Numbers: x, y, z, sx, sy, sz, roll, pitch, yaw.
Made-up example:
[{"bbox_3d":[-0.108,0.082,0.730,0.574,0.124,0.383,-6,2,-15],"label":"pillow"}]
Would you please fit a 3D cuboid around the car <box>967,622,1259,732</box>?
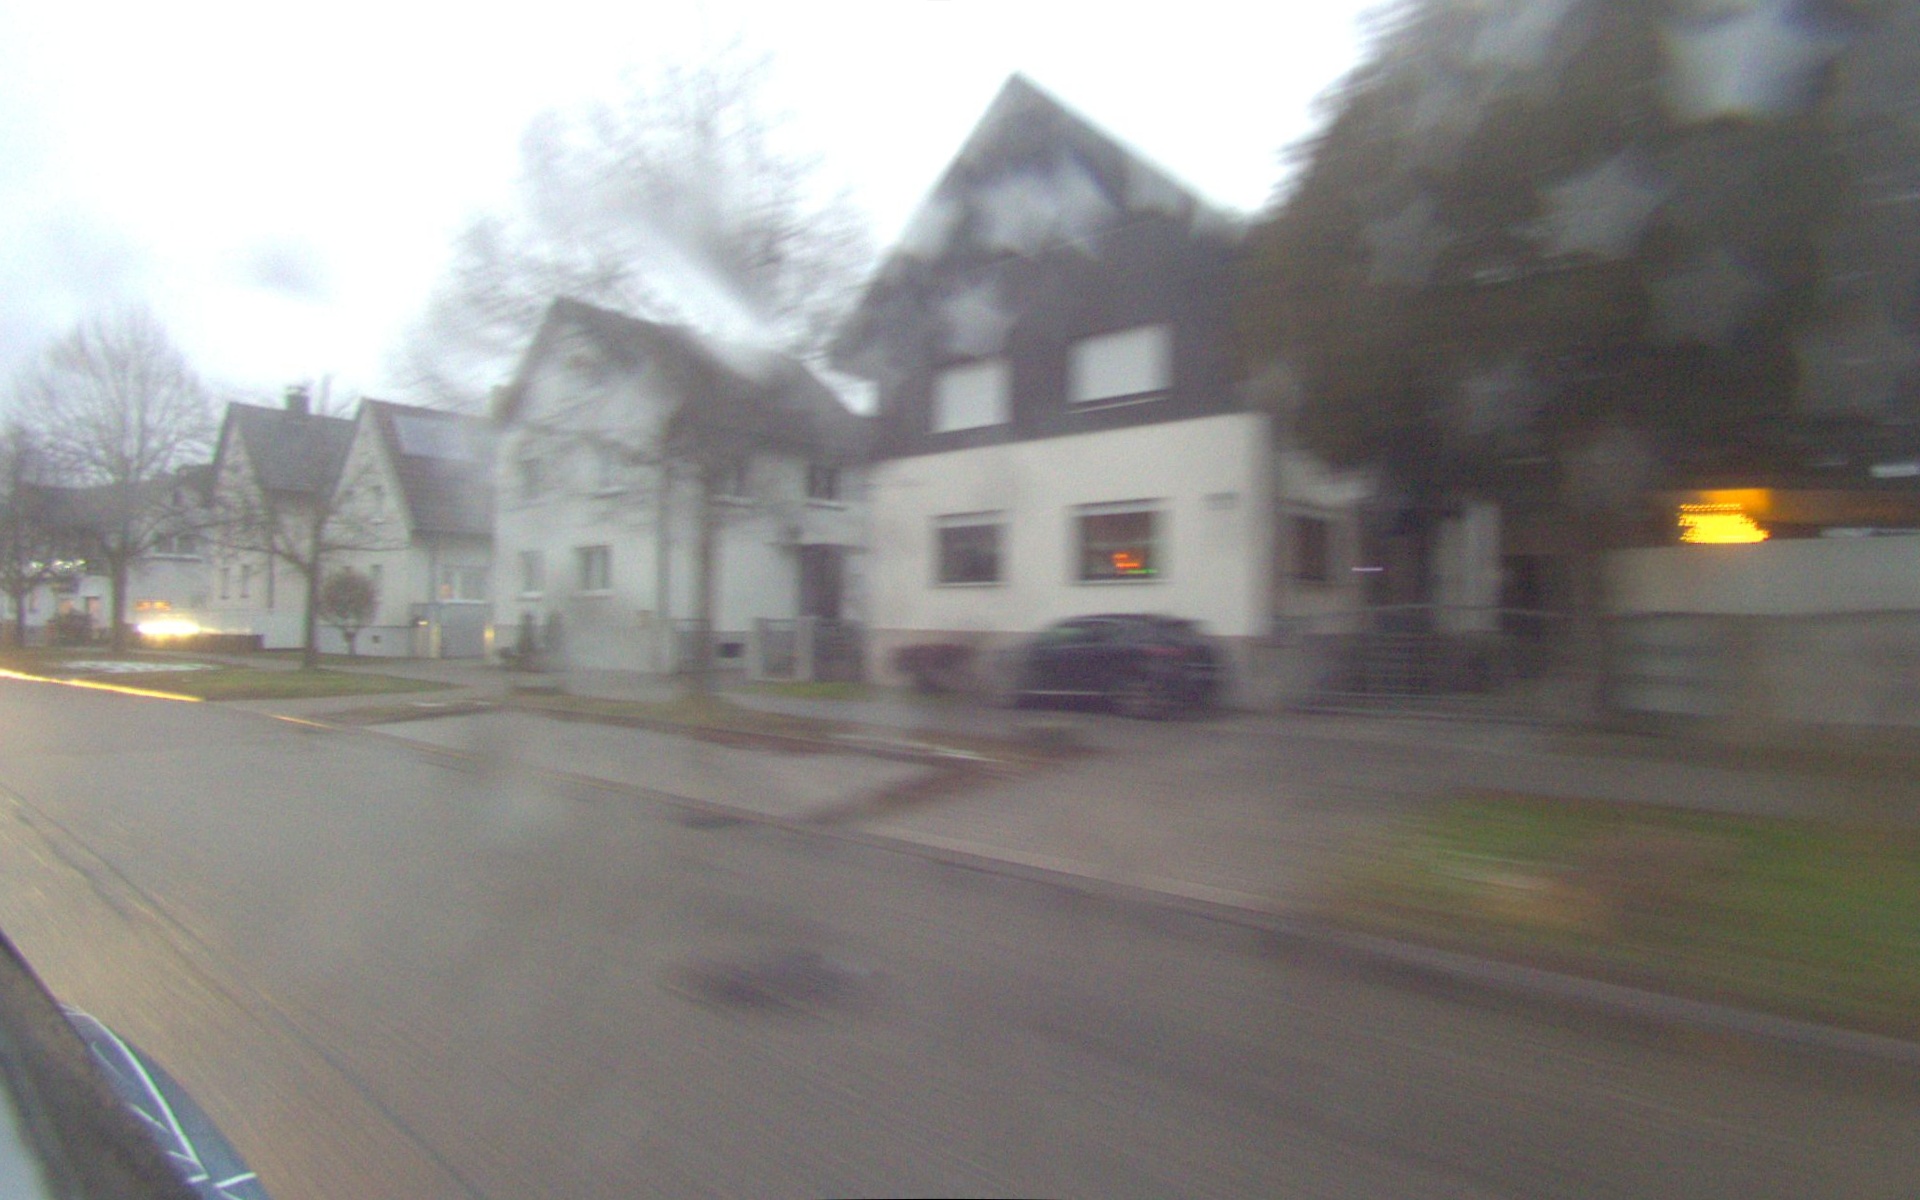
[{"bbox_3d":[2.148,1.029,14.965,4.000,1.376,1.762,-1,-1,43],"label":"car"}]
